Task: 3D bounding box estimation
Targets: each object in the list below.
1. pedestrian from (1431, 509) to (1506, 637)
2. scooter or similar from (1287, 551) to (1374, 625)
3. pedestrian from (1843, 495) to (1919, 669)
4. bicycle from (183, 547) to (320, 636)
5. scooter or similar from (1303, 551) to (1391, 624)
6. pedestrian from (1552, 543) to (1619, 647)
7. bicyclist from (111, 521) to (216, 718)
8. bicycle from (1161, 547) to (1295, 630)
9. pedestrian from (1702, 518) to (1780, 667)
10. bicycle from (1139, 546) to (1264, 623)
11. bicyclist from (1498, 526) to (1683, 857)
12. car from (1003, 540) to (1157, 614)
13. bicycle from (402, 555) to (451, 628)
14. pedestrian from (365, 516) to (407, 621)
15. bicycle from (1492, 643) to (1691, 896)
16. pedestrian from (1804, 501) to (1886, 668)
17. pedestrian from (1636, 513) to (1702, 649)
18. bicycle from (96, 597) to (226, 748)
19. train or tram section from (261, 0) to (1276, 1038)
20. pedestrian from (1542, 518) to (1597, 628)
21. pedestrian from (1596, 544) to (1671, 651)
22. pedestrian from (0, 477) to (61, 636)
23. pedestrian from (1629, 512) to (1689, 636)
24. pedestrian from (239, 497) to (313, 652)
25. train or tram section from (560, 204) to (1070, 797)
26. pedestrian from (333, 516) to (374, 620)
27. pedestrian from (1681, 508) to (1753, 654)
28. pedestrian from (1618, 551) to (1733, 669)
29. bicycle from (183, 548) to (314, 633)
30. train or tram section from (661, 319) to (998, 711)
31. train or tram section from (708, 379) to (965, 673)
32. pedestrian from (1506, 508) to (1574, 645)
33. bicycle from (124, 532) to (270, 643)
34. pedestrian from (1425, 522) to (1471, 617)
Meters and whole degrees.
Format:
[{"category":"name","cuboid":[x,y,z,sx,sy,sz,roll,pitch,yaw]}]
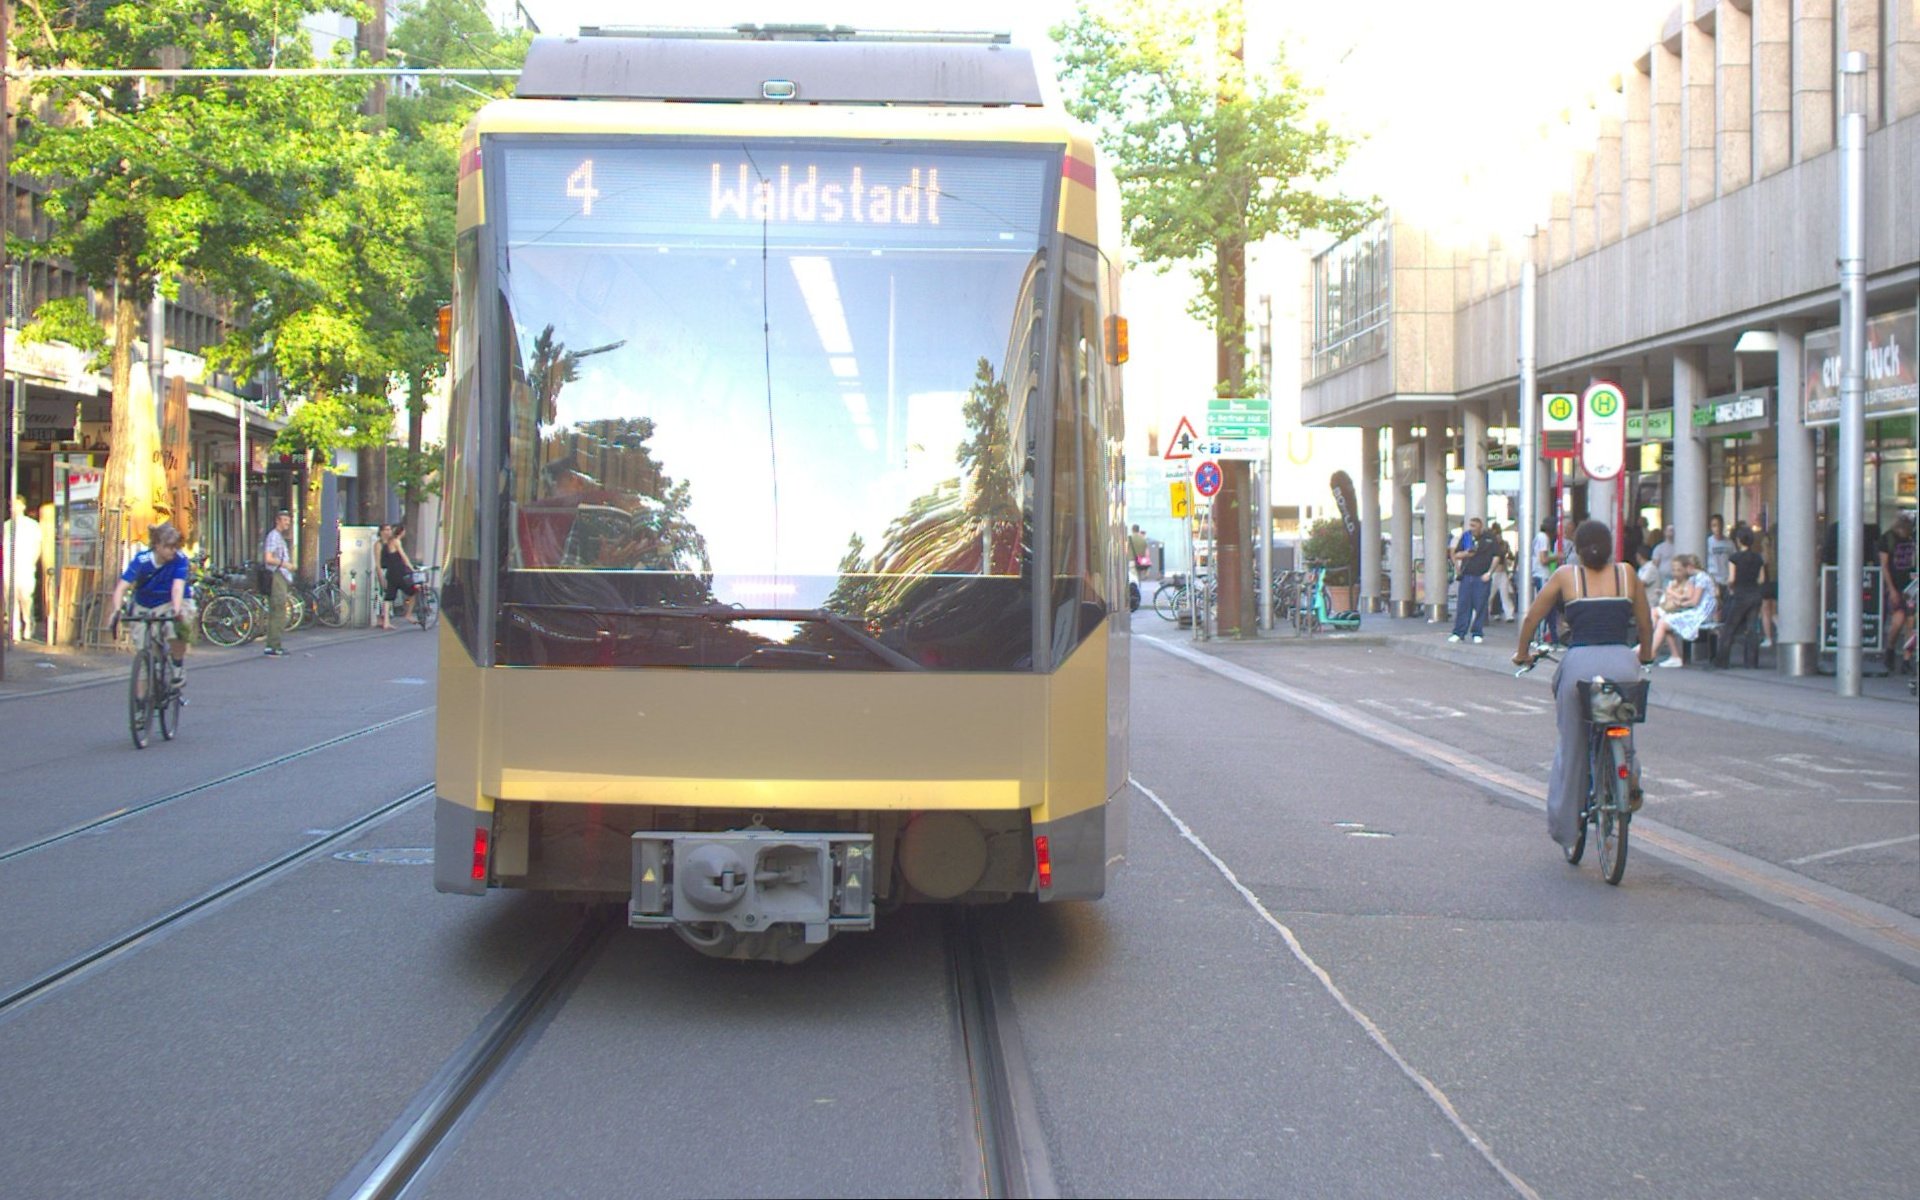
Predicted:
[{"category":"pedestrian","cuboid":[7.181,-0.382,48.543,0.888,1.775,0.752,1,0,-3]},{"category":"scooter or similar","cuboid":[6.338,-0.209,58.800,1.379,1.246,0.557,-1,0,-8]},{"category":"pedestrian","cuboid":[9.996,-0.201,37.080,0.701,1.833,0.829,-2,2,-1]},{"category":"bicycle","cuboid":[-9.713,-0.114,47.161,1.733,1.122,0.613,3,0,-7]},{"category":"scooter or similar","cuboid":[6.520,-0.218,57.910,1.379,1.206,0.516,-1,0,-14]},{"category":"pedestrian","cuboid":[8.294,-0.072,45.598,0.739,1.323,0.720,-2,2,0]},{"category":"bicyclist","cuboid":[-5.819,0.141,25.141,0.620,1.411,0.700,1,0,-4]},{"category":"bicycle","cuboid":[4.931,-0.213,63.328,2.328,1.466,0.791,1,0,-4]},{"category":"pedestrian","cuboid":[8.780,-0.094,38.662,0.701,1.632,0.646,-2,2,-1]},{"category":"bicycle","cuboid":[4.725,-0.302,67.417,2.328,1.466,0.791,1,0,-4]},{"category":"bicyclist","cuboid":[3.003,0.426,16.424,0.726,1.521,0.733,2,0,3]},{"category":"car","cuboid":[2.689,-0.490,76.301,1.645,1.588,3.912,1,0,32]},{"category":"bicycle","cuboid":[-8.626,-0.142,55.645,0.611,1.122,2.252,3,0,-6]},{"category":"pedestrian","cuboid":[-9.366,-0.519,56.122,0.551,1.681,0.576,3,0,-5]},{"category":"bicycle","cuboid":[3.001,0.776,16.499,0.656,1.057,2.057,2,1,3]},{"category":"pedestrian","cuboid":[9.951,-0.179,38.676,0.701,1.833,0.706,-2,2,-1]},{"category":"pedestrian","cuboid":[9.788,-0.274,47.492,0.701,1.833,0.829,-2,2,-1]},{"category":"bicycle","cuboid":[-5.834,0.515,25.169,0.641,1.019,1.589,2,1,-3]},{"category":"train or tram section","cuboid":[-0.722,-0.514,15.471,3.016,3.511,10.371,0,1,-2]},{"category":"pedestrian","cuboid":[9.547,-0.428,53.890,0.701,1.678,0.680,-2,2,-1]},{"category":"pedestrian","cuboid":[8.575,-0.039,43.792,0.806,1.323,0.626,-2,2,0]},{"category":"pedestrian","cuboid":[-12.054,-0.558,43.968,0.849,2.007,0.921,1,0,-1]},{"category":"pedestrian","cuboid":[10.557,-0.403,51.950,0.701,1.833,0.829,-2,2,-1]},{"category":"pedestrian","cuboid":[-8.459,-0.314,42.557,0.750,1.873,0.576,3,0,-5]},{"category":"train or tram section","cuboid":[-1.026,-0.680,25.850,3.007,3.511,10.403,1,1,-2]},{"category":"pedestrian","cuboid":[-10.003,-0.526,56.706,0.573,1.681,0.553,3,0,-11]},{"category":"pedestrian","cuboid":[9.685,-0.253,44.003,0.701,1.833,0.829,-2,2,-1]},{"category":"pedestrian","cuboid":[8.323,0.111,40.022,1.112,1.323,0.926,-2,1,0]},{"category":"bicycle","cuboid":[-10.255,-0.138,49.589,1.733,1.122,0.563,3,0,-4]},{"category":"train or tram section","cuboid":[-1.339,-0.855,36.476,3.003,3.511,10.846,1,1,-2]},{"category":"train or tram section","cuboid":[-1.663,-0.987,47.137,3.044,3.511,10.532,1,1,-2]},{"category":"pedestrian","cuboid":[7.645,-0.308,45.342,0.749,1.775,0.891,1,0,2]},{"category":"bicycle","cuboid":[-10.075,-0.167,45.403,1.796,1.355,0.660,3,0,-13]},{"category":"pedestrian","cuboid":[8.831,-0.561,62.240,0.701,1.678,0.680,-2,2,-1]}]
